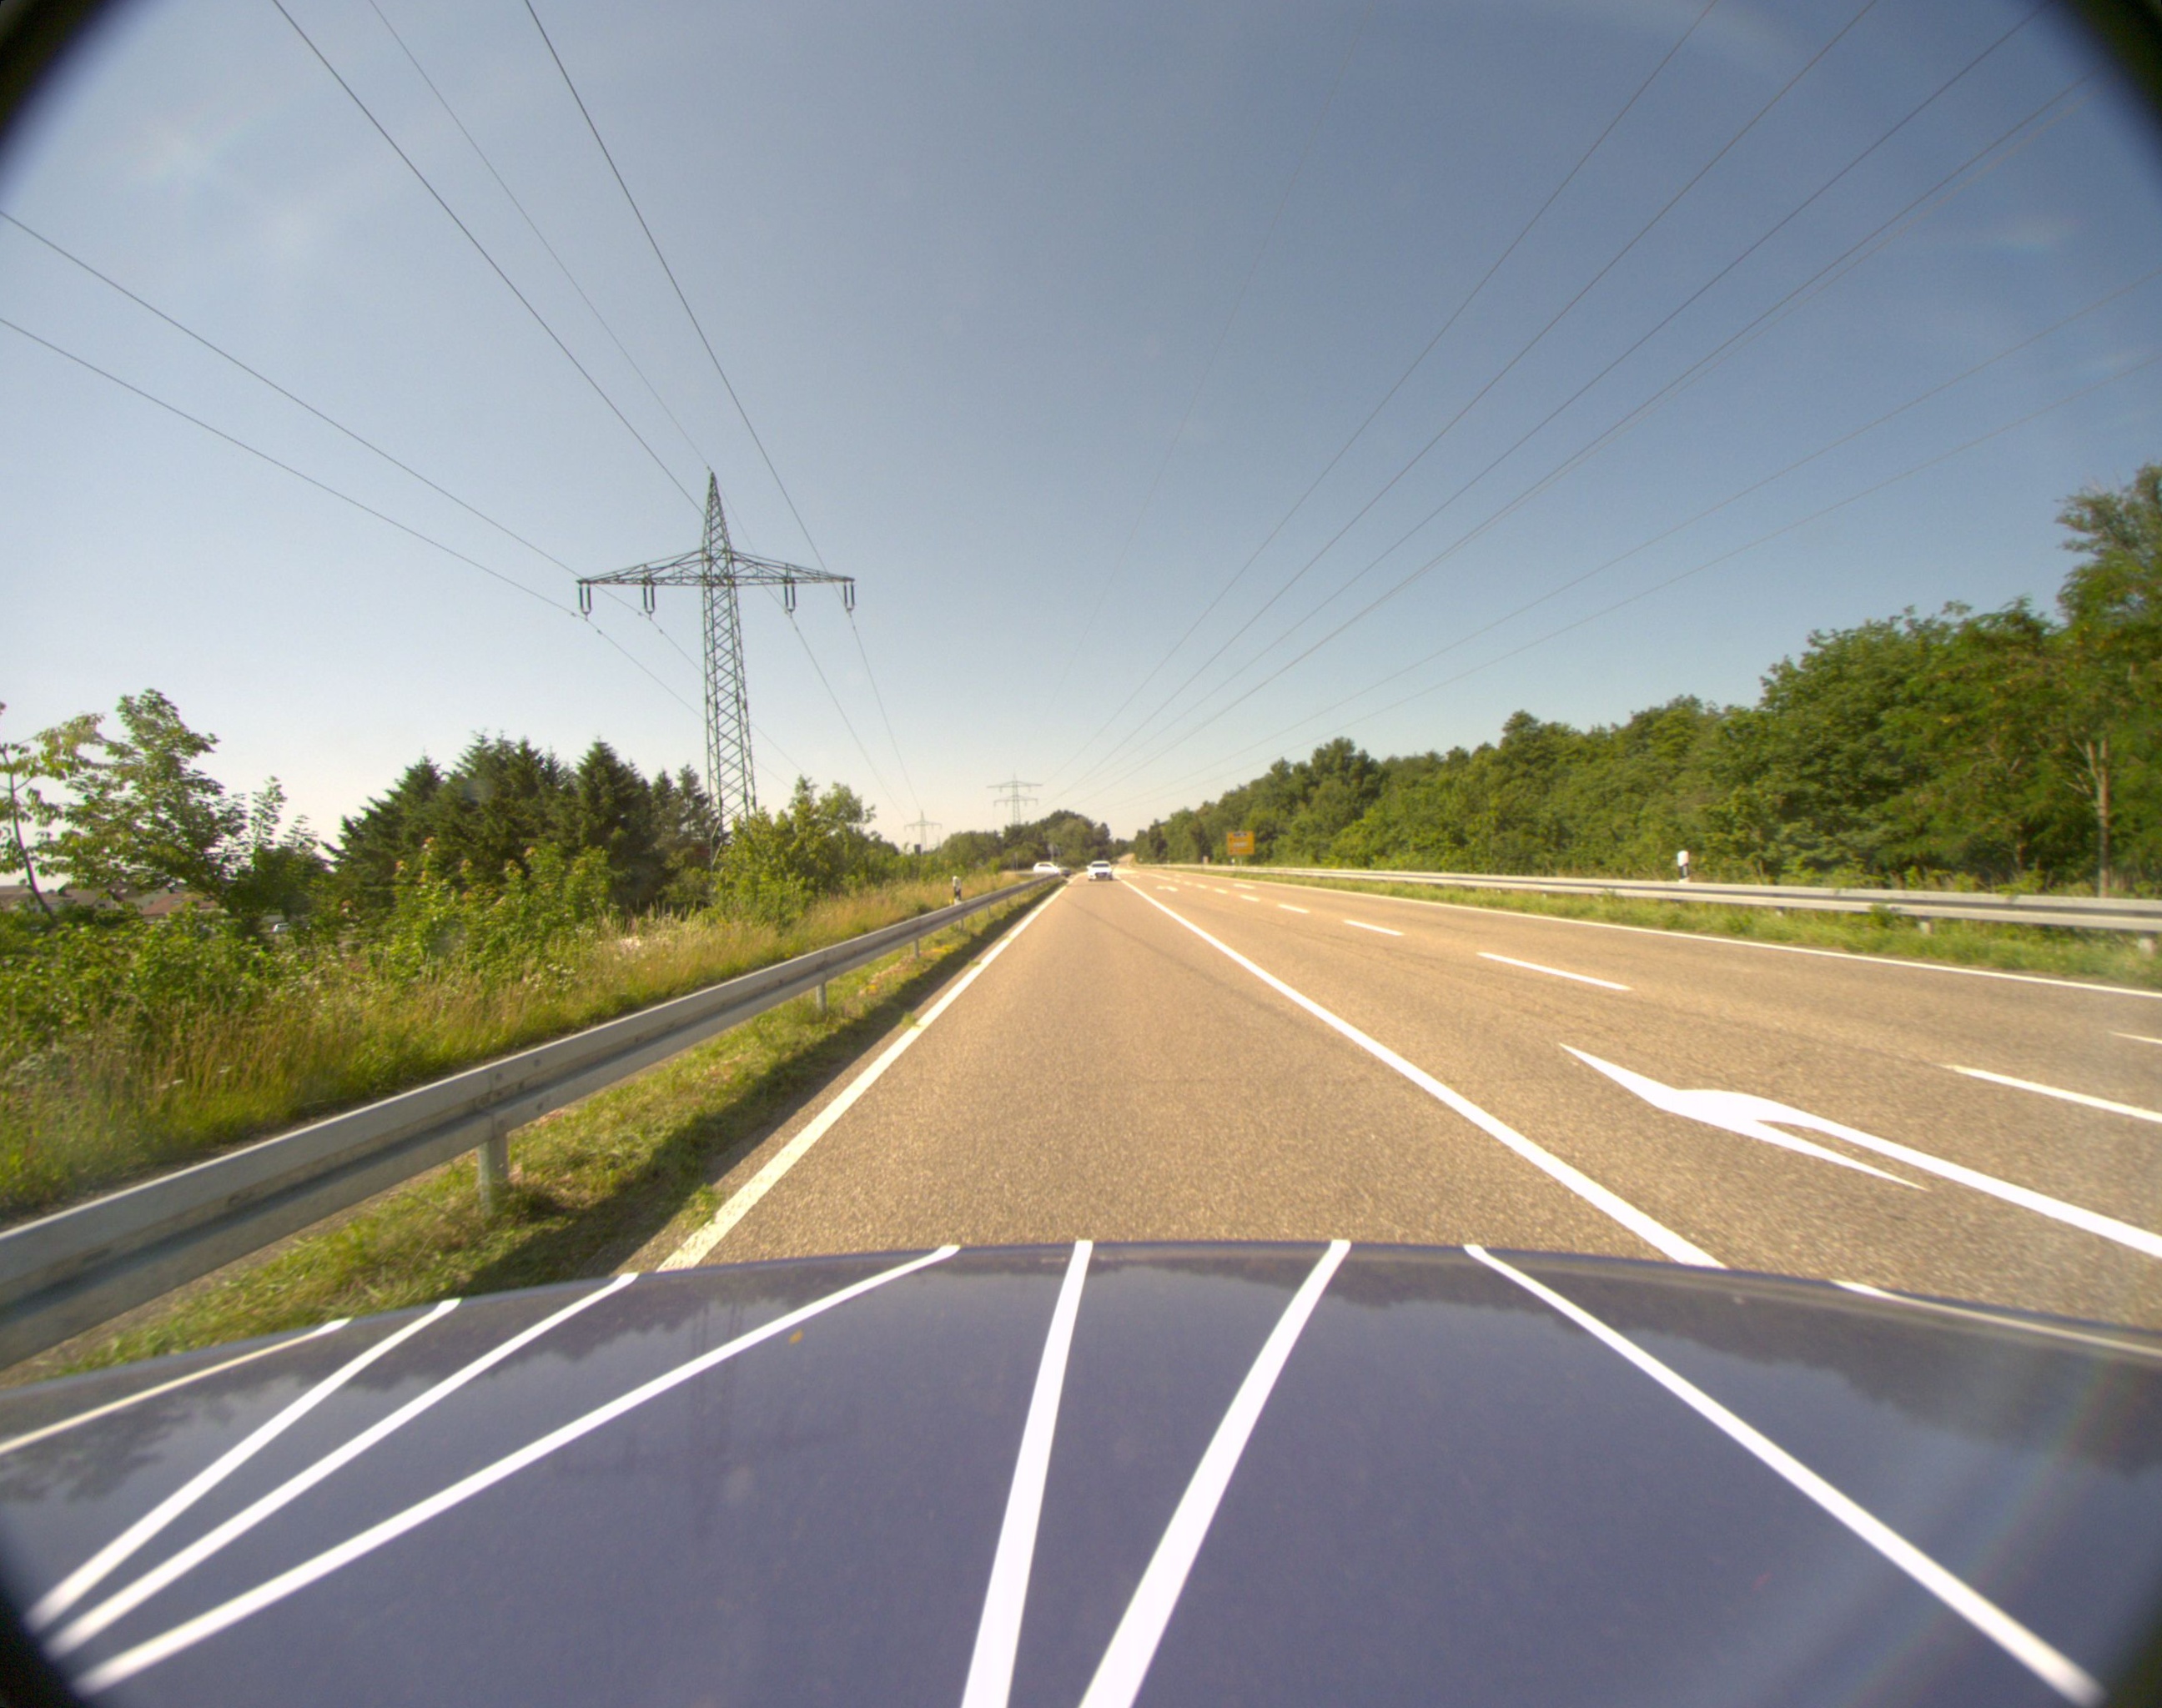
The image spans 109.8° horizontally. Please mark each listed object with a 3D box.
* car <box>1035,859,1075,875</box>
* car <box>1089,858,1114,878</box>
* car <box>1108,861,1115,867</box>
[{"bbox_3d":[-2.559,1.323,74.896,3.651,1.460,1.553,-2,0,34],"label":"car"},{"bbox_3d":[1.572,1.028,59.159,1.683,1.471,4.472,0,0,-2],"label":"car"},{"bbox_3d":[6.711,2.280,167.027,1.511,1.237,3.074,-2,0,2],"label":"car"}]
